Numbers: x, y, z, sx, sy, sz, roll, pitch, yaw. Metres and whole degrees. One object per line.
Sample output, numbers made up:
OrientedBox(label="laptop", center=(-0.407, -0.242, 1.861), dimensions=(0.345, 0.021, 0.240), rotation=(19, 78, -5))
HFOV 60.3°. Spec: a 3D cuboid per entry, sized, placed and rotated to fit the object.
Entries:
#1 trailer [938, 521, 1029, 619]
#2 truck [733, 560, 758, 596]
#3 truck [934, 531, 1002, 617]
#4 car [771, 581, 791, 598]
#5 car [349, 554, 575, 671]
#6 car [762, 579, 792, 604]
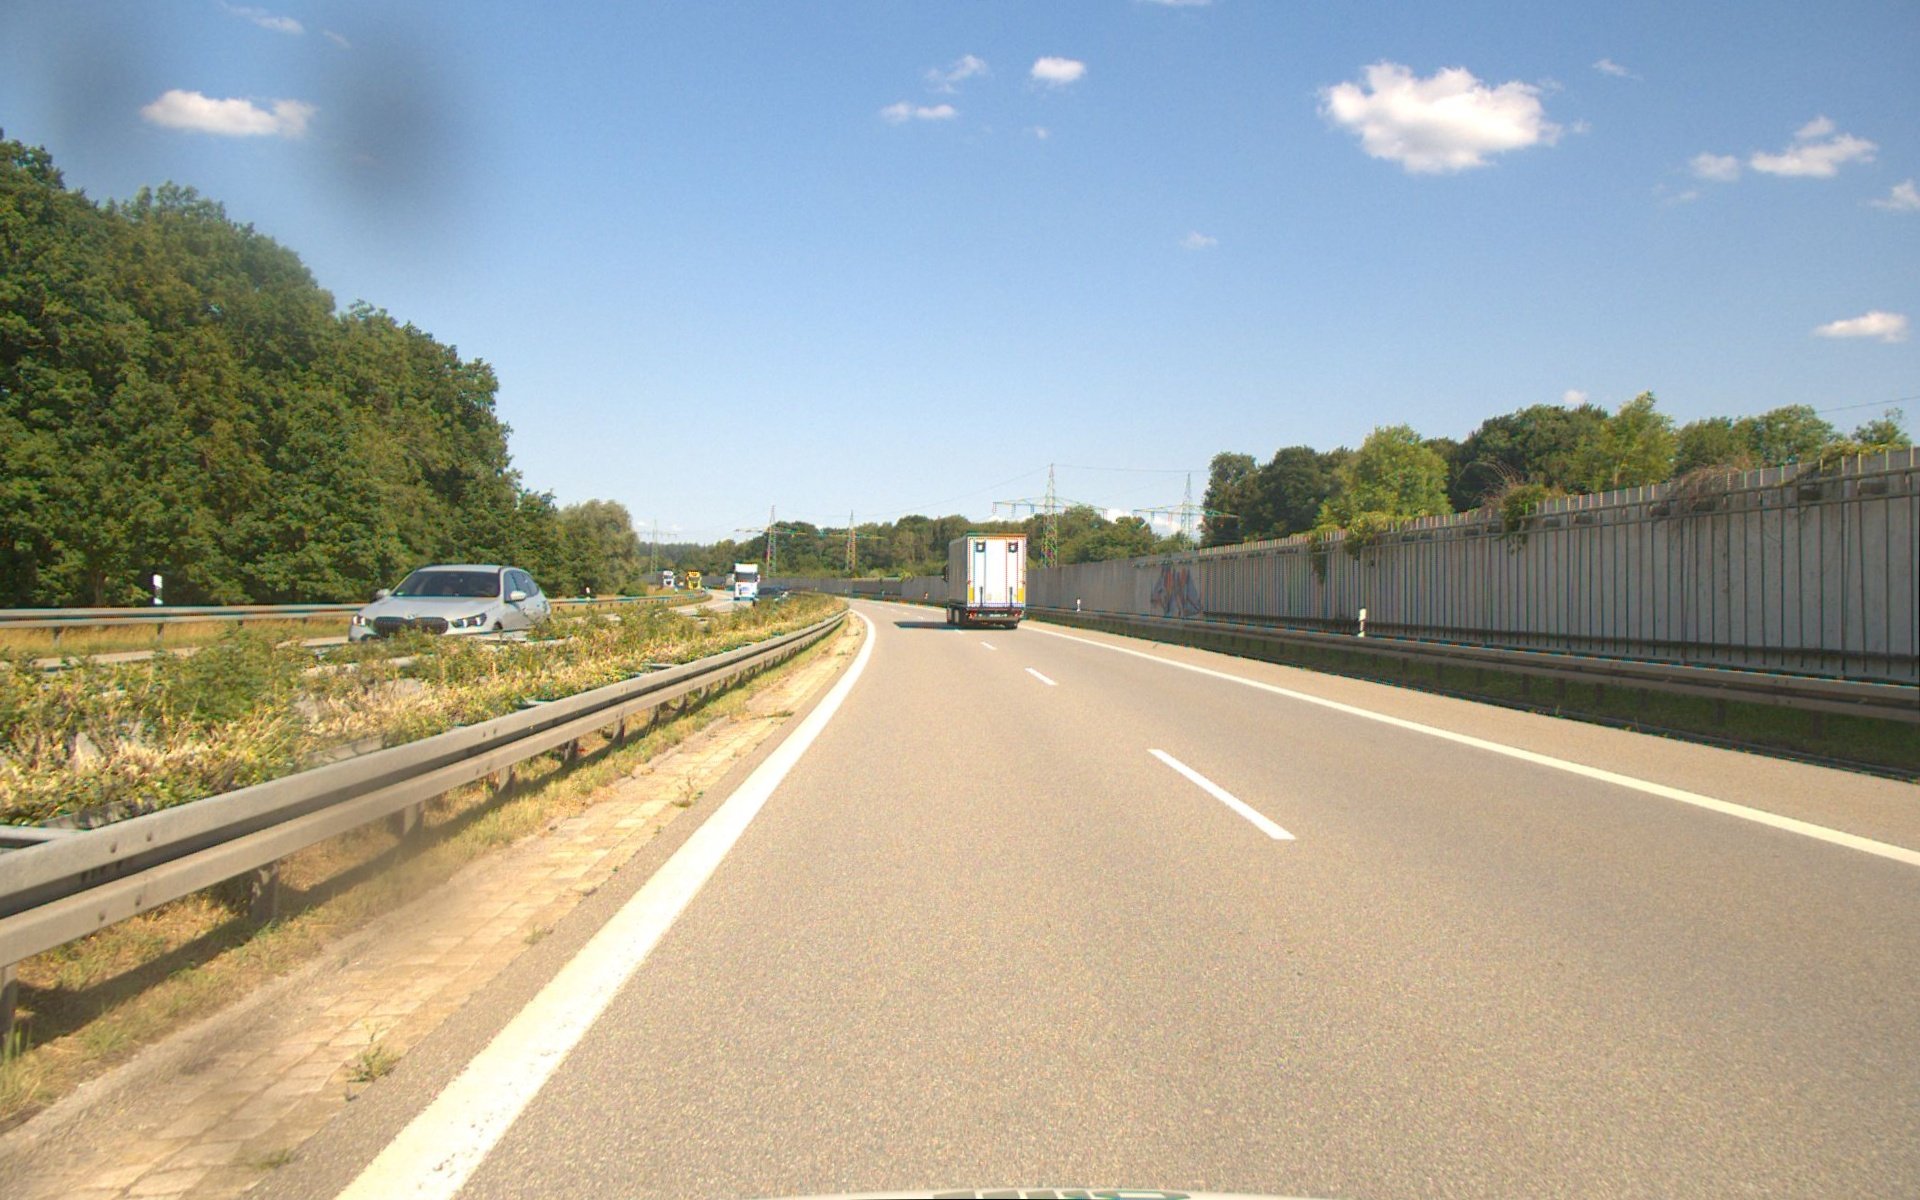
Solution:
OrientedBox(label="trailer", center=(0.924, -1.310, 76.014), dimensions=(2.828, 4.137, 12.406), rotation=(0, 0, -5))
OrientedBox(label="truck", center=(-23.811, -2.394, 183.220), dimensions=(2.576, 3.906, 6.796), rotation=(0, 0, -9))
OrientedBox(label="truck", center=(0.327, -1.259, 82.108), dimensions=(2.775, 4.082, 6.580), rotation=(0, 0, -5))
OrientedBox(label="car", center=(-18.258, -1.062, 168.968), dimensions=(1.806, 1.634, 3.997), rotation=(0, 0, -4))
OrientedBox(label="car", center=(-7.113, 0.139, 24.159), dimensions=(1.892, 1.531, 4.793), rotation=(0, 1, -1))
OrientedBox(label="car", center=(-11.063, -0.525, 100.074), dimensions=(1.626, 1.475, 4.244), rotation=(0, 1, -4))
